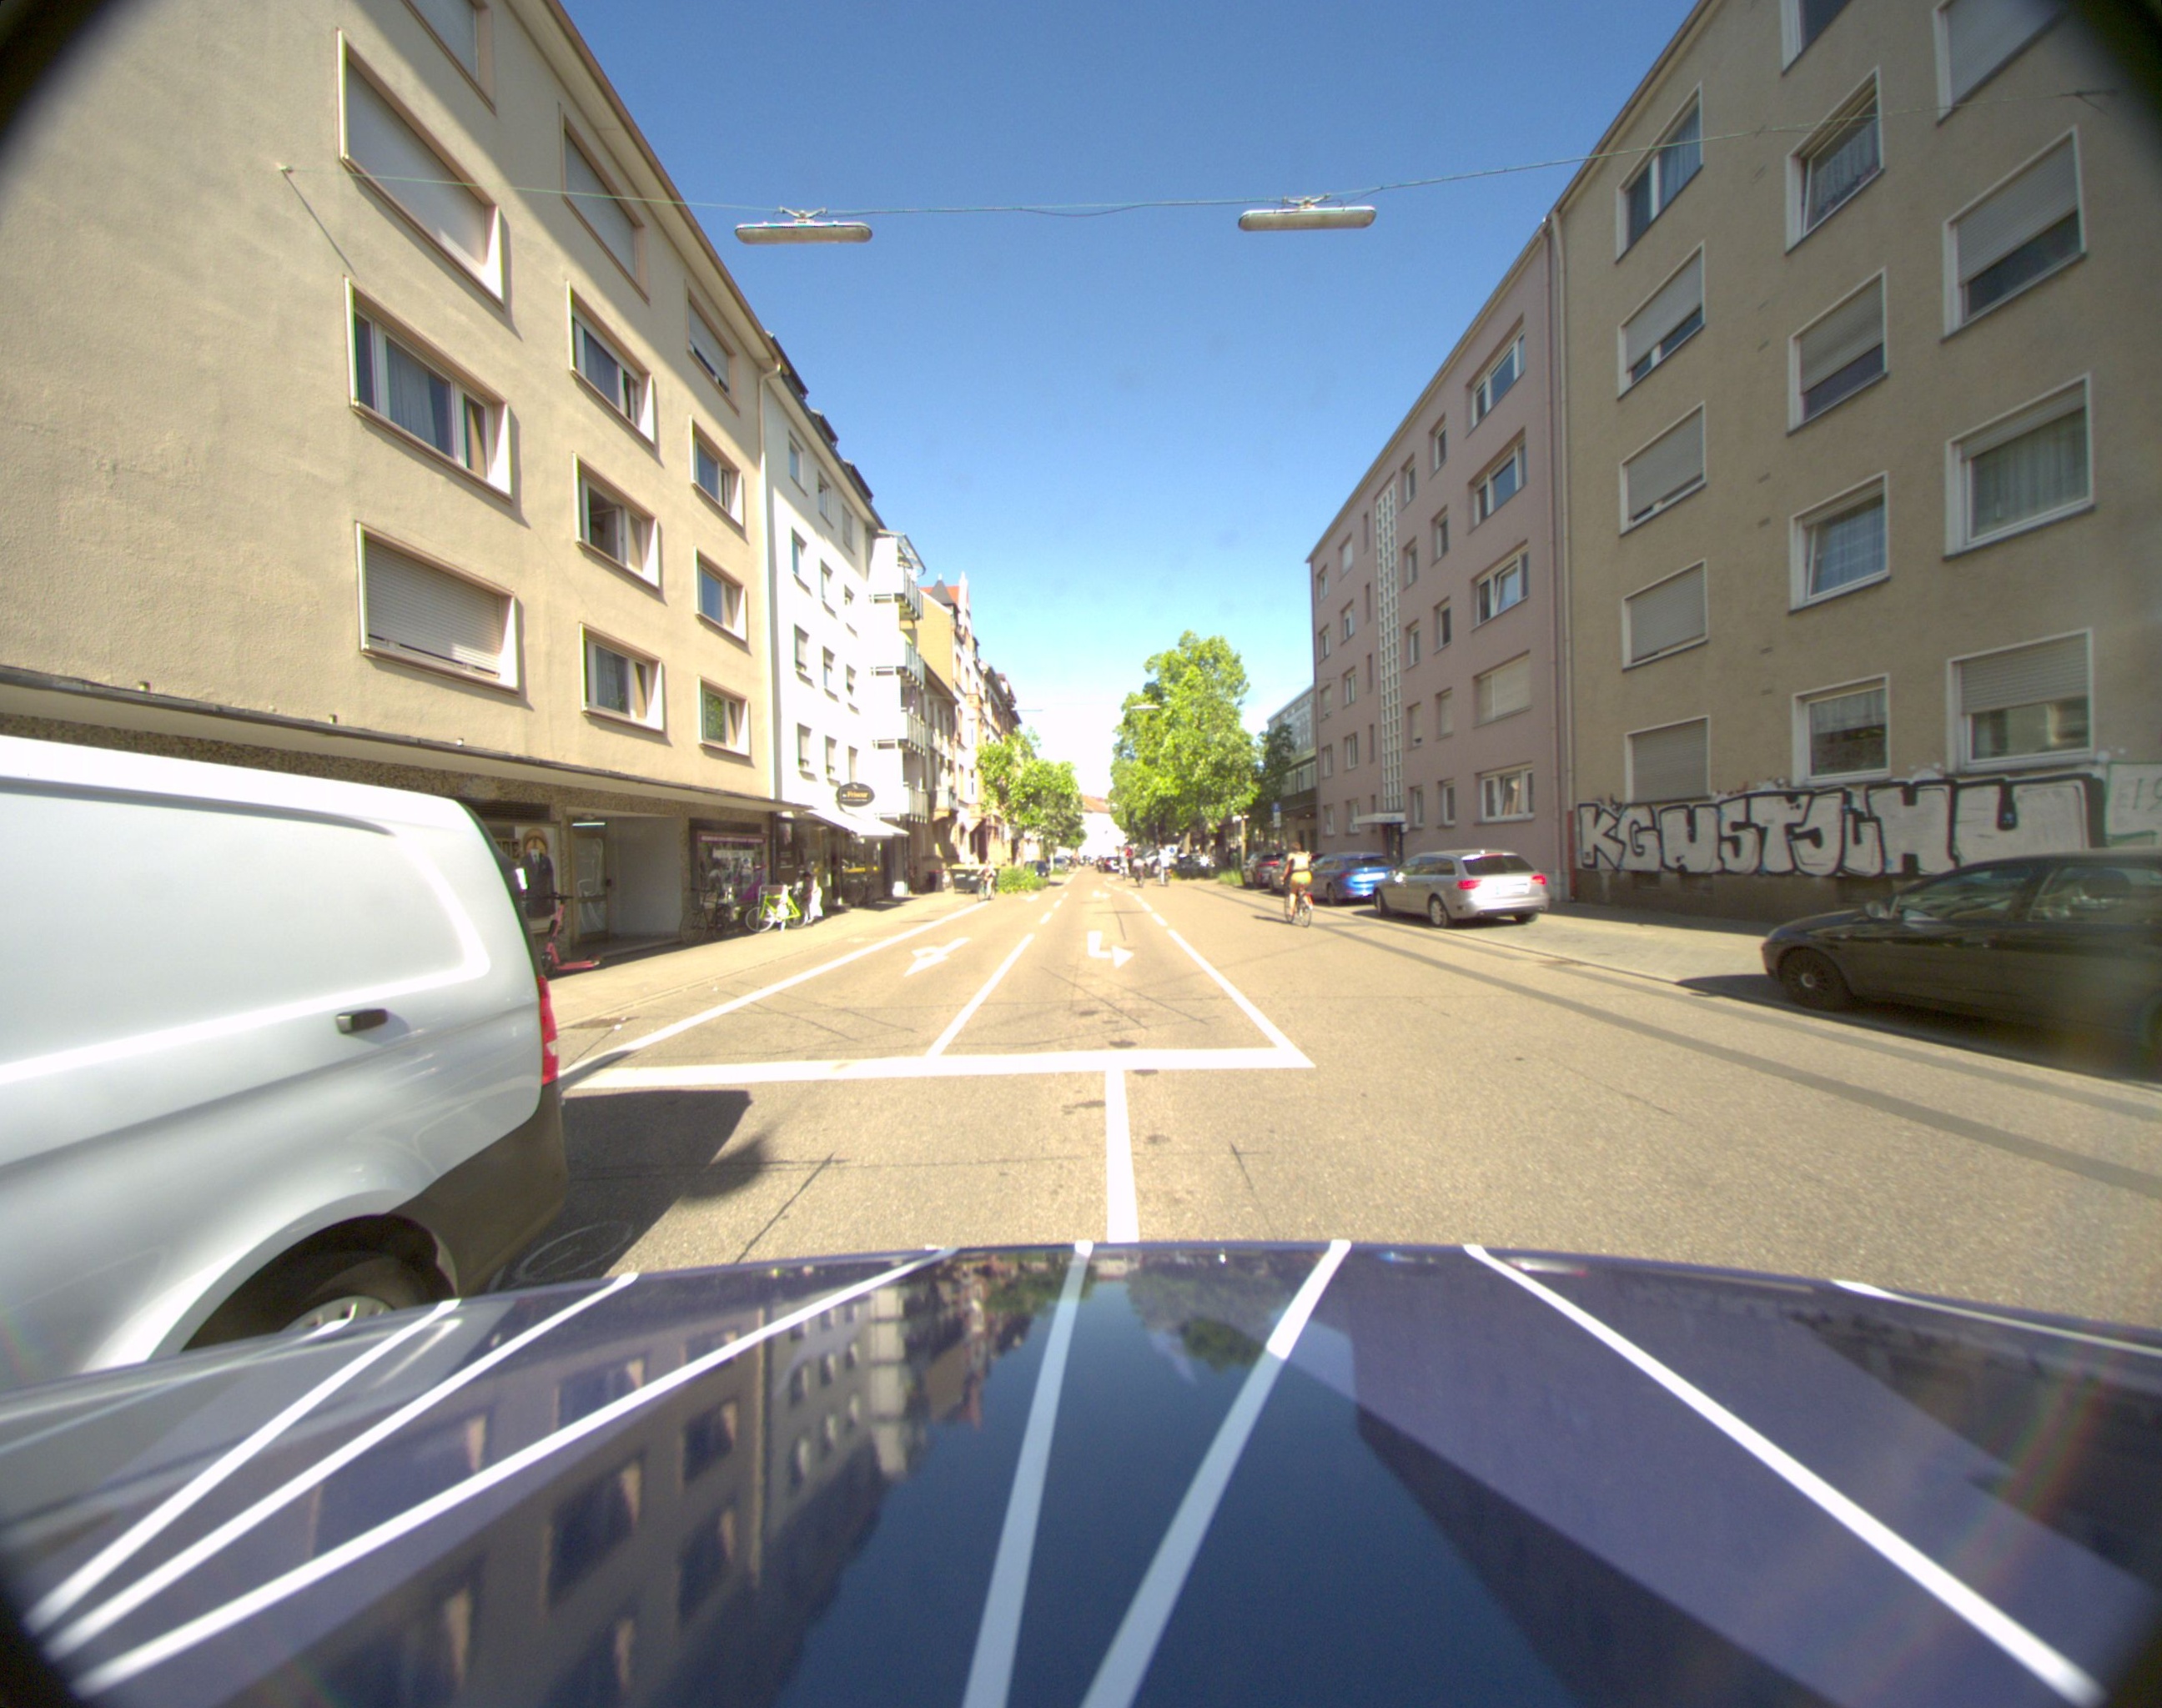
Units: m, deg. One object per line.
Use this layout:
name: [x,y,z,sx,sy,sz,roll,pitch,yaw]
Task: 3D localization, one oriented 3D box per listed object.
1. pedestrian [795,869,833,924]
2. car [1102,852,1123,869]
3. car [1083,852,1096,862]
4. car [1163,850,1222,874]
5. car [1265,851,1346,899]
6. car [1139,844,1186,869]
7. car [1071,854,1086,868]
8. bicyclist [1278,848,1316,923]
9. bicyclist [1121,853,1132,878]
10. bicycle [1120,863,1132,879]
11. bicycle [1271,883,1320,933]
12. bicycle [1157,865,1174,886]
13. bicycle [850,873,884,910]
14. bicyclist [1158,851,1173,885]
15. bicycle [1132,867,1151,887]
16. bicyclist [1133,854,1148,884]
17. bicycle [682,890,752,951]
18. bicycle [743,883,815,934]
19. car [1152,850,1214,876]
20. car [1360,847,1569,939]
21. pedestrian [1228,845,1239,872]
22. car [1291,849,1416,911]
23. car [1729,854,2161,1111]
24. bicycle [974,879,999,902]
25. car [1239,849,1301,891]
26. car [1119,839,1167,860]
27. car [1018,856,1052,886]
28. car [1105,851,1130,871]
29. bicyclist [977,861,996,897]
pedestrian: [-7.171,1.129,20.400,0.775,1.434,0.625,-2,1,-4]
car: [3.020,0.613,73.915,1.911,1.543,4.000,-2,0,1]
car: [1.136,0.441,102.634,1.627,1.270,3.547,-2,0,3]
car: [7.918,0.559,54.303,3.996,1.543,1.913,-2,0,3]
car: [7.882,0.687,27.076,1.727,1.459,4.158,-4,0,3]
car: [6.969,0.224,65.102,3.875,2.031,1.913,-2,0,3]
car: [-0.327,0.777,89.654,1.627,1.586,3.547,-2,0,1]
bicyclist: [4.457,0.635,15.737,0.544,1.512,0.774,-2,1,1]
bicyclist: [2.907,0.717,48.722,0.681,1.567,0.899,0,1,1]
bicycle: [2.886,1.091,48.801,0.681,0.946,1.933,0,0,1]
bicycle: [4.477,1.111,15.952,0.544,0.897,1.826,-2,0,1]
bicycle: [4.143,1.039,37.392,0.681,0.946,1.933,-1,0,1]
bicycle: [-7.256,1.249,25.862,0.598,1.137,1.774,1,0,1]
bicyclist: [4.154,0.683,37.342,0.681,1.621,0.899,0,1,1]
bicycle: [2.887,1.087,36.462,0.544,0.897,1.825,-2,0,-6]
bicyclist: [2.851,0.722,36.578,0.544,1.383,0.788,-2,1,-6]
bicycle: [-7.471,1.341,15.684,0.407,1.078,1.801,1,0,6]
bicycle: [-7.281,1.287,18.349,1.497,1.100,0.722,-2,1,-31]
car: [6.822,0.592,51.096,3.996,1.543,1.913,-2,0,3]
car: [7.615,0.682,15.749,1.828,1.494,4.801,-4,0,0]
pedestrian: [10.245,0.284,51.049,0.623,1.795,0.502,-2,1,2]
car: [7.776,0.670,22.235,1.828,1.494,4.801,-4,0,0]
car: [7.350,0.779,5.652,1.695,1.440,3.856,-4,0,0]
bicycle: [-3.687,1.411,29.865,0.582,0.801,1.710,-2,0,6]
car: [8.011,0.644,32.529,1.727,1.567,4.158,-4,0,3]
car: [7.608,-0.517,93.121,5.560,2.379,1.977,-2,1,-6]
car: [-2.629,0.948,43.708,1.627,1.586,3.547,-2,0,1]
car: [3.069,0.564,64.884,1.911,1.543,4.000,-2,0,1]
bicyclist: [-3.709,0.982,29.795,0.582,1.369,0.665,-2,1,6]
